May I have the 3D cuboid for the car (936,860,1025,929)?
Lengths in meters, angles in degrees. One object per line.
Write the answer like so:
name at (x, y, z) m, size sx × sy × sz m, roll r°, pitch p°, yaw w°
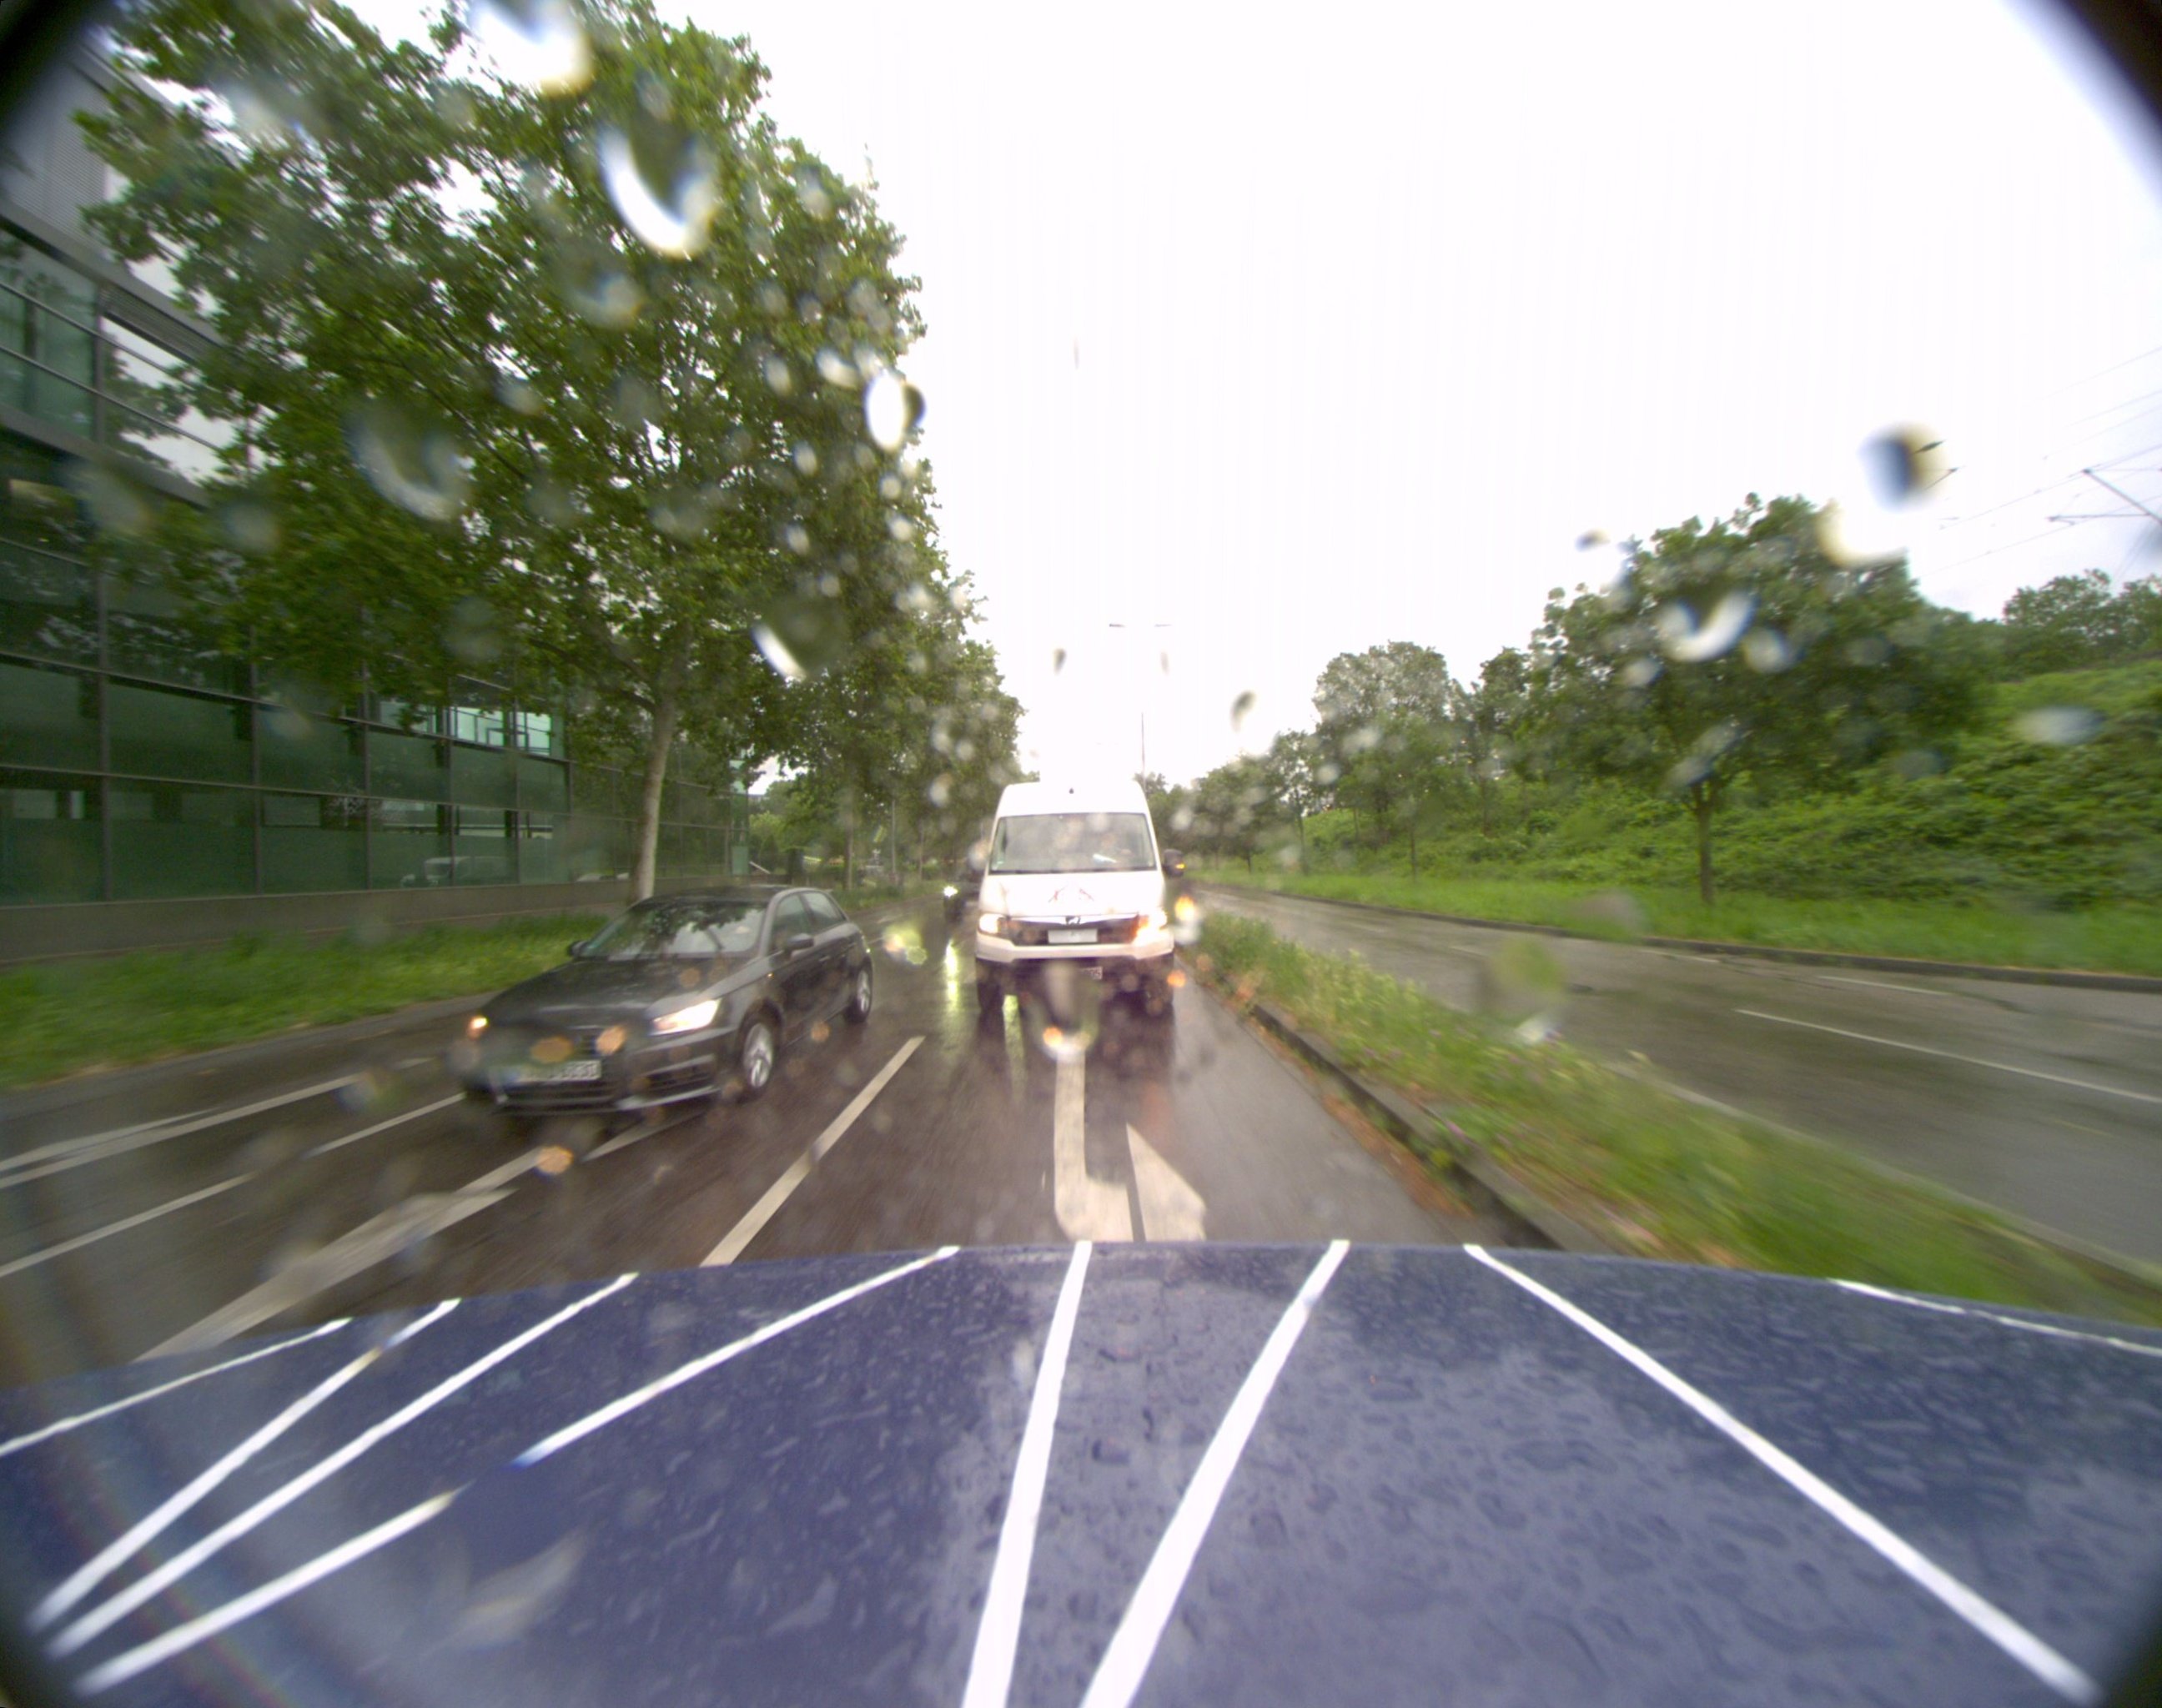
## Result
car at (-2.768, 1.073, 21.970) m, size 1.999 × 1.737 × 4.327 m, roll -1°, pitch 0°, yaw 0°

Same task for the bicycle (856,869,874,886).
bicycle at (-14.772, 1.581, 51.975) m, size 0.745 × 1.098 × 2.076 m, roll 1°, pitch 0°, yaw -2°

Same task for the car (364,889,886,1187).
car at (-2.975, 1.094, 6.036) m, size 1.841 × 1.390 × 3.753 m, roll -2°, pitch 0°, yaw 0°

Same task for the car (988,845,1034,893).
car at (-3.701, 0.783, 41.037) m, size 1.999 × 2.416 × 4.978 m, roll -1°, pitch 0°, yaw 0°

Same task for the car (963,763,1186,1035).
car at (-0.038, 0.415, 9.819) m, size 1.969 × 2.419 × 5.961 m, roll -1°, pitch 0°, yaw 0°

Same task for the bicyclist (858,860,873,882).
bicyclist at (-14.747, 1.154, 51.969) m, size 0.807 × 1.506 × 0.752 m, roll 1°, pitch 1°, yaw -3°
